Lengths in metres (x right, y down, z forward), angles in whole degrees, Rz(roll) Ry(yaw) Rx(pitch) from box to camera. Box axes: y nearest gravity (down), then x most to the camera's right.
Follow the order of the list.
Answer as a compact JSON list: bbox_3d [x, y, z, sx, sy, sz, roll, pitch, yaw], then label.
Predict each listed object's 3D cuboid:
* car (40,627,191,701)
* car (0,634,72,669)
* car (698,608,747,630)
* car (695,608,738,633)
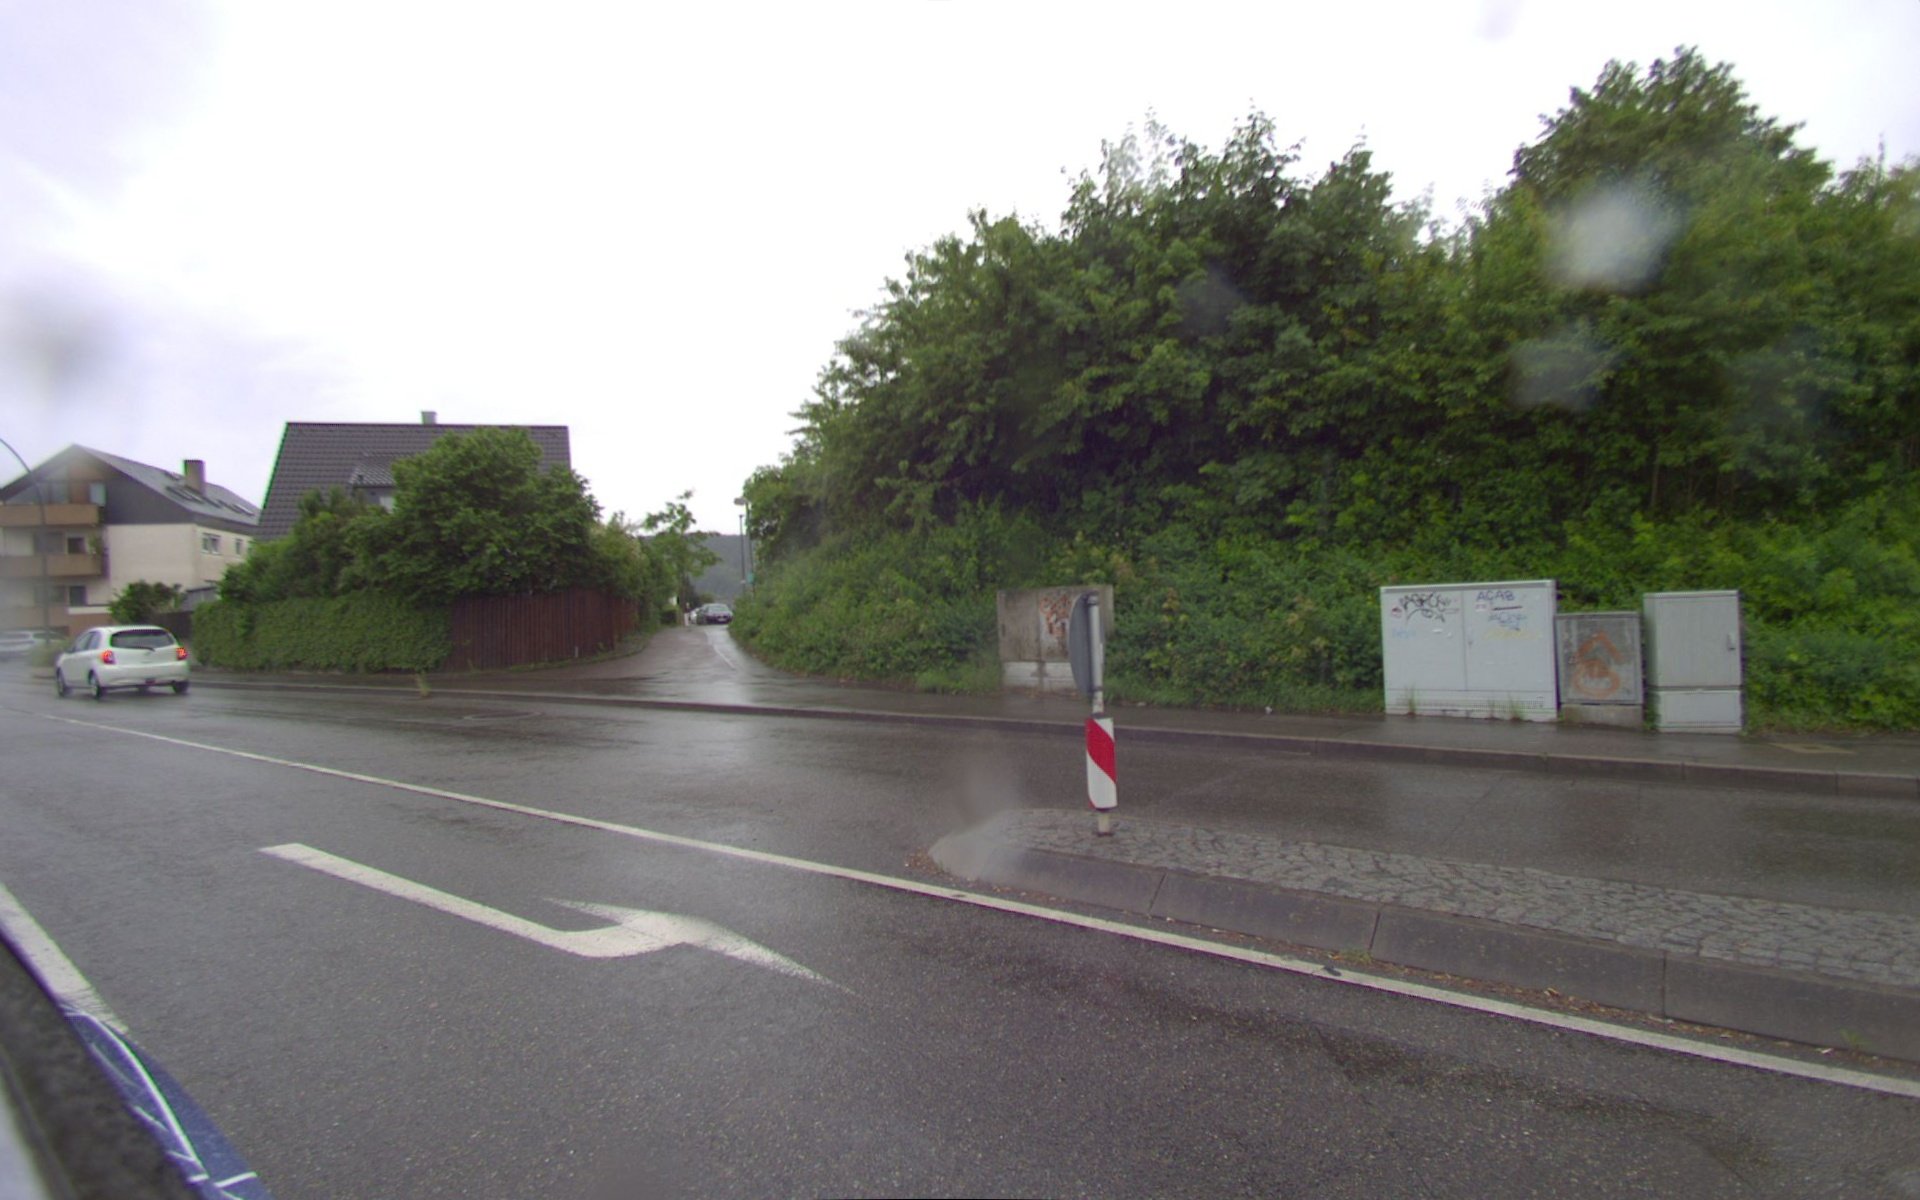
[{"bbox_3d":[-18.811,1.375,22.501,3.812,1.516,1.607,-2,-2,34],"label":"car"},{"bbox_3d":[-46.704,2.542,50.755,1.638,1.558,4.011,-1,0,-15],"label":"car"},{"bbox_3d":[-17.262,1.342,73.376,1.967,1.497,4.009,-1,0,-37],"label":"car"},{"bbox_3d":[-15.862,1.347,65.808,1.867,1.494,4.013,-1,-1,-26],"label":"car"}]
